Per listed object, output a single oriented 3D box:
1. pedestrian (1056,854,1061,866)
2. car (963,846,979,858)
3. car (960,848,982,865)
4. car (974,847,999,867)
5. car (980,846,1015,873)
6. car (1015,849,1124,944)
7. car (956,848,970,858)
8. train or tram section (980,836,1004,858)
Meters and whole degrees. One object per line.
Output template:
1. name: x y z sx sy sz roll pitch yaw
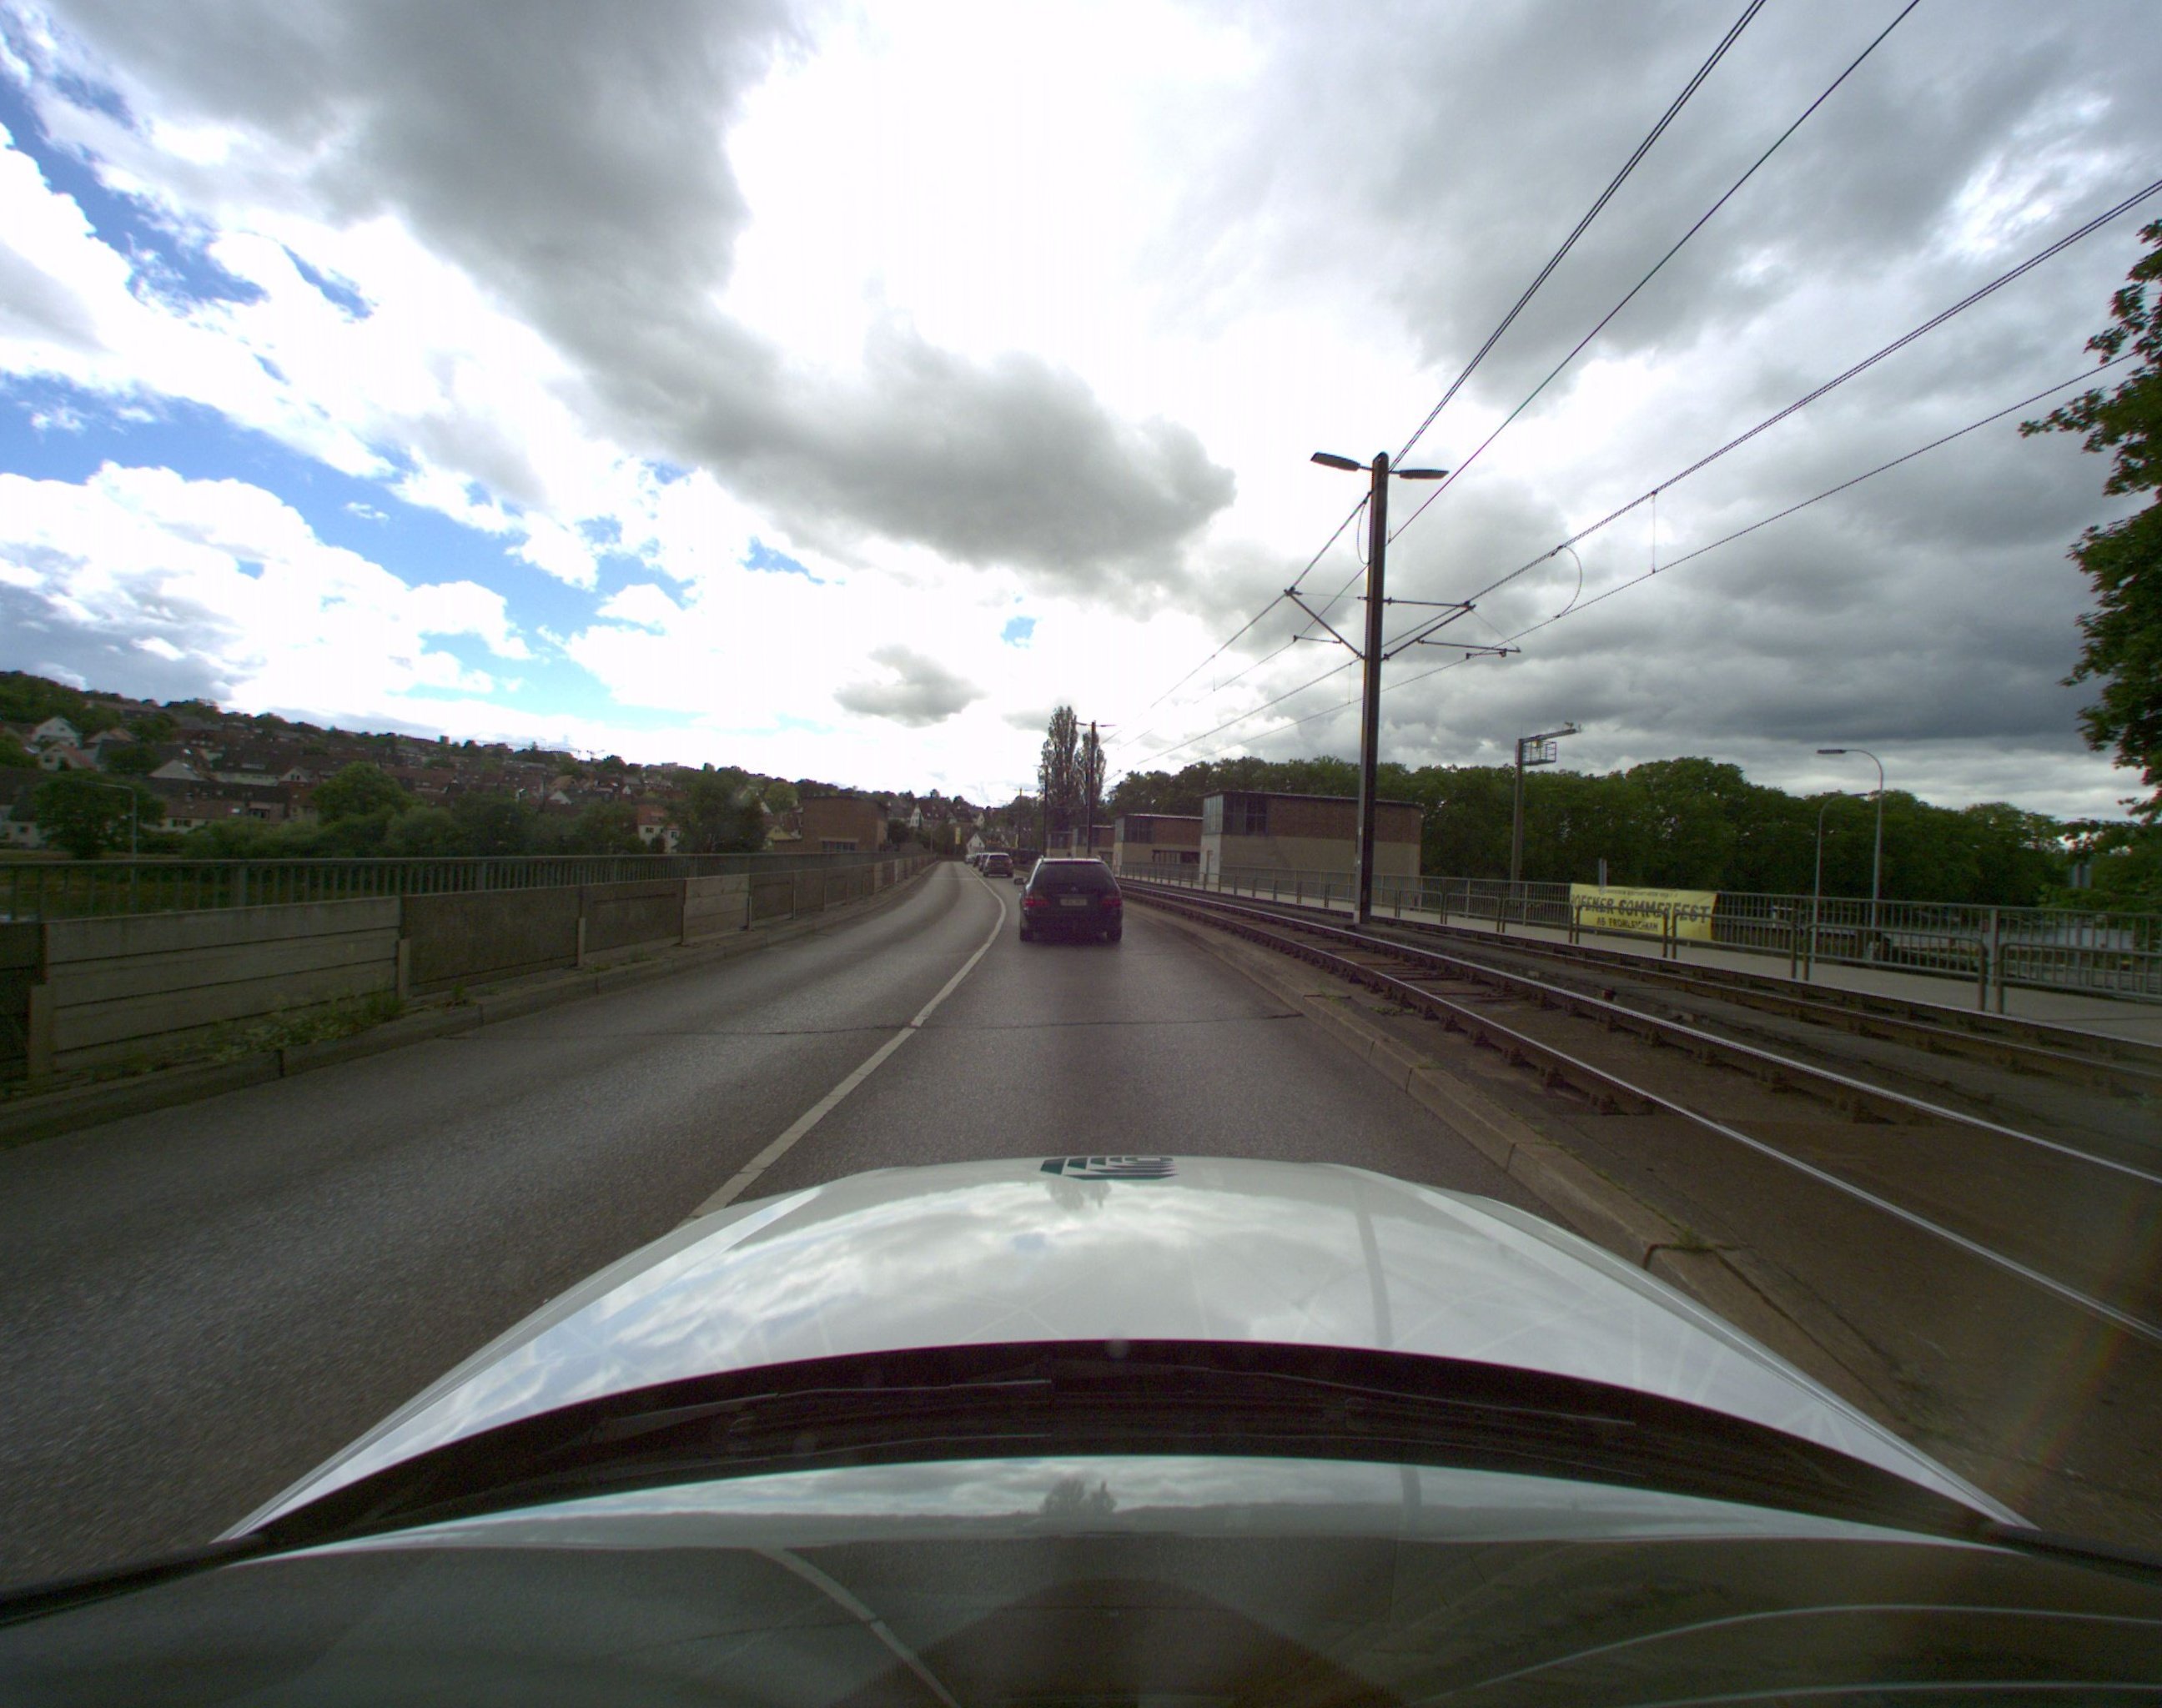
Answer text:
1. pedestrian: -3.285 0.879 117.631 0.577 1.610 0.611 2 -1 -9
2. car: -14.895 -0.283 110.556 1.993 1.570 4.891 3 0 -9
3. car: -11.453 0.256 84.812 1.995 1.672 4.523 0 1 -11
4. car: -7.775 0.218 66.940 1.991 1.564 4.986 0 1 -7
5. car: -5.362 0.326 51.763 1.771 1.555 4.224 2 0 -11
6. car: -0.242 0.689 15.531 1.754 1.515 4.440 1 0 -2
7. car: -19.831 -0.181 136.556 1.995 1.570 4.886 3 0 -11
8. train or tram section: -15.186 -1.156 137.940 2.882 3.509 18.604 1 0 -10
